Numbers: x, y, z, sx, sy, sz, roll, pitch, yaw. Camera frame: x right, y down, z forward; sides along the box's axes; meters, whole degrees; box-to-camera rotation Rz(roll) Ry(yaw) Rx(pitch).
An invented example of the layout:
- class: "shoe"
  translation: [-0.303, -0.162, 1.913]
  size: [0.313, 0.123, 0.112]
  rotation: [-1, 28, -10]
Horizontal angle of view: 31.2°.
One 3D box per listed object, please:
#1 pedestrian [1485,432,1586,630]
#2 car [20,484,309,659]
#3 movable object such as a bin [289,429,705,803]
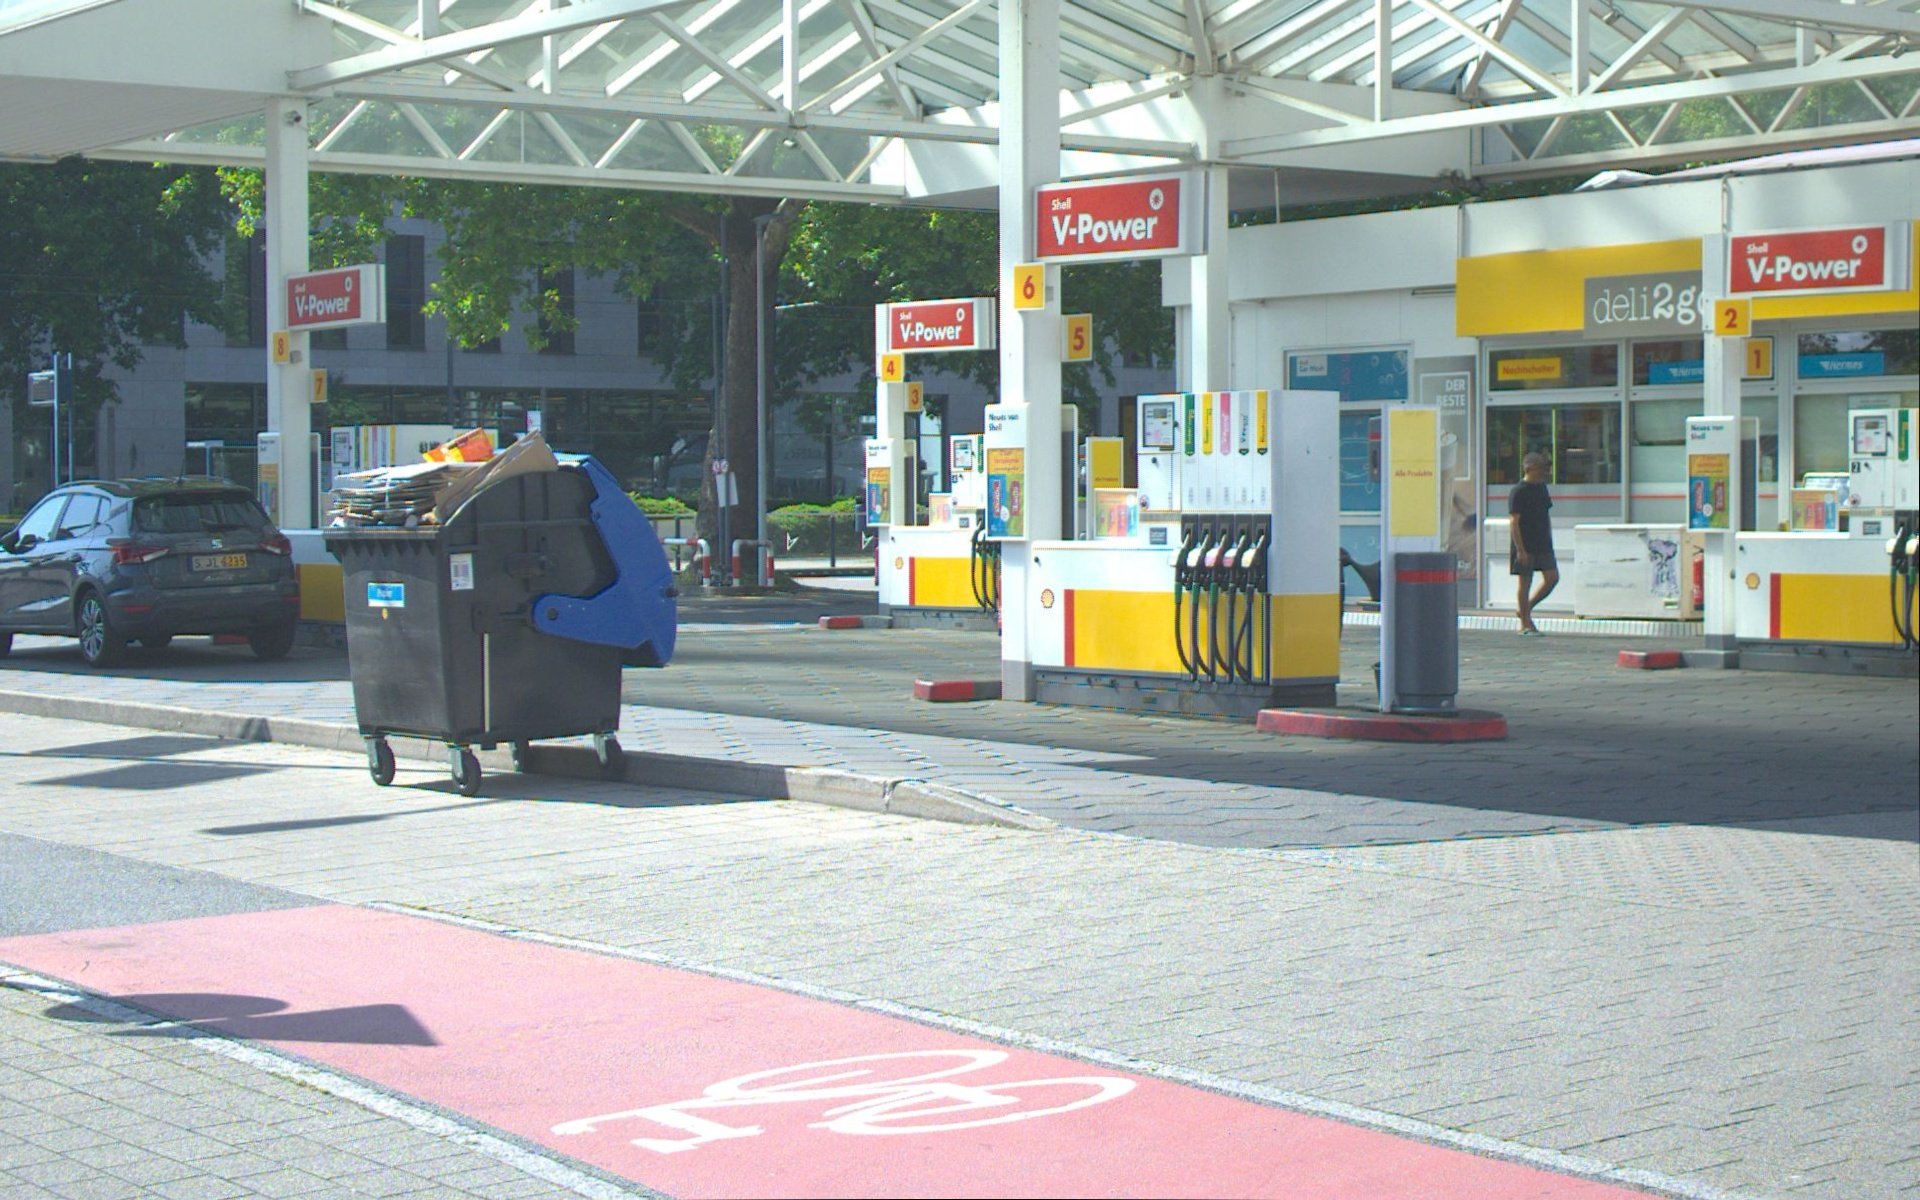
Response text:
- class: "pedestrian"
  translation: [5.345, -0.642, 31.964]
  size: [0.673, 1.815, 0.631]
  rotation: [-1, 1, -30]
- class: "car"
  translation: [-6.884, -0.275, 29.511]
  size: [1.650, 1.393, 3.642]
  rotation: [-1, 1, -26]
- class: "movable object such as a bin"
  translation: [-2.147, 0.040, 15.898]
  size: [1.308, 1.586, 1.395]
  rotation: [-5, 4, -39]
